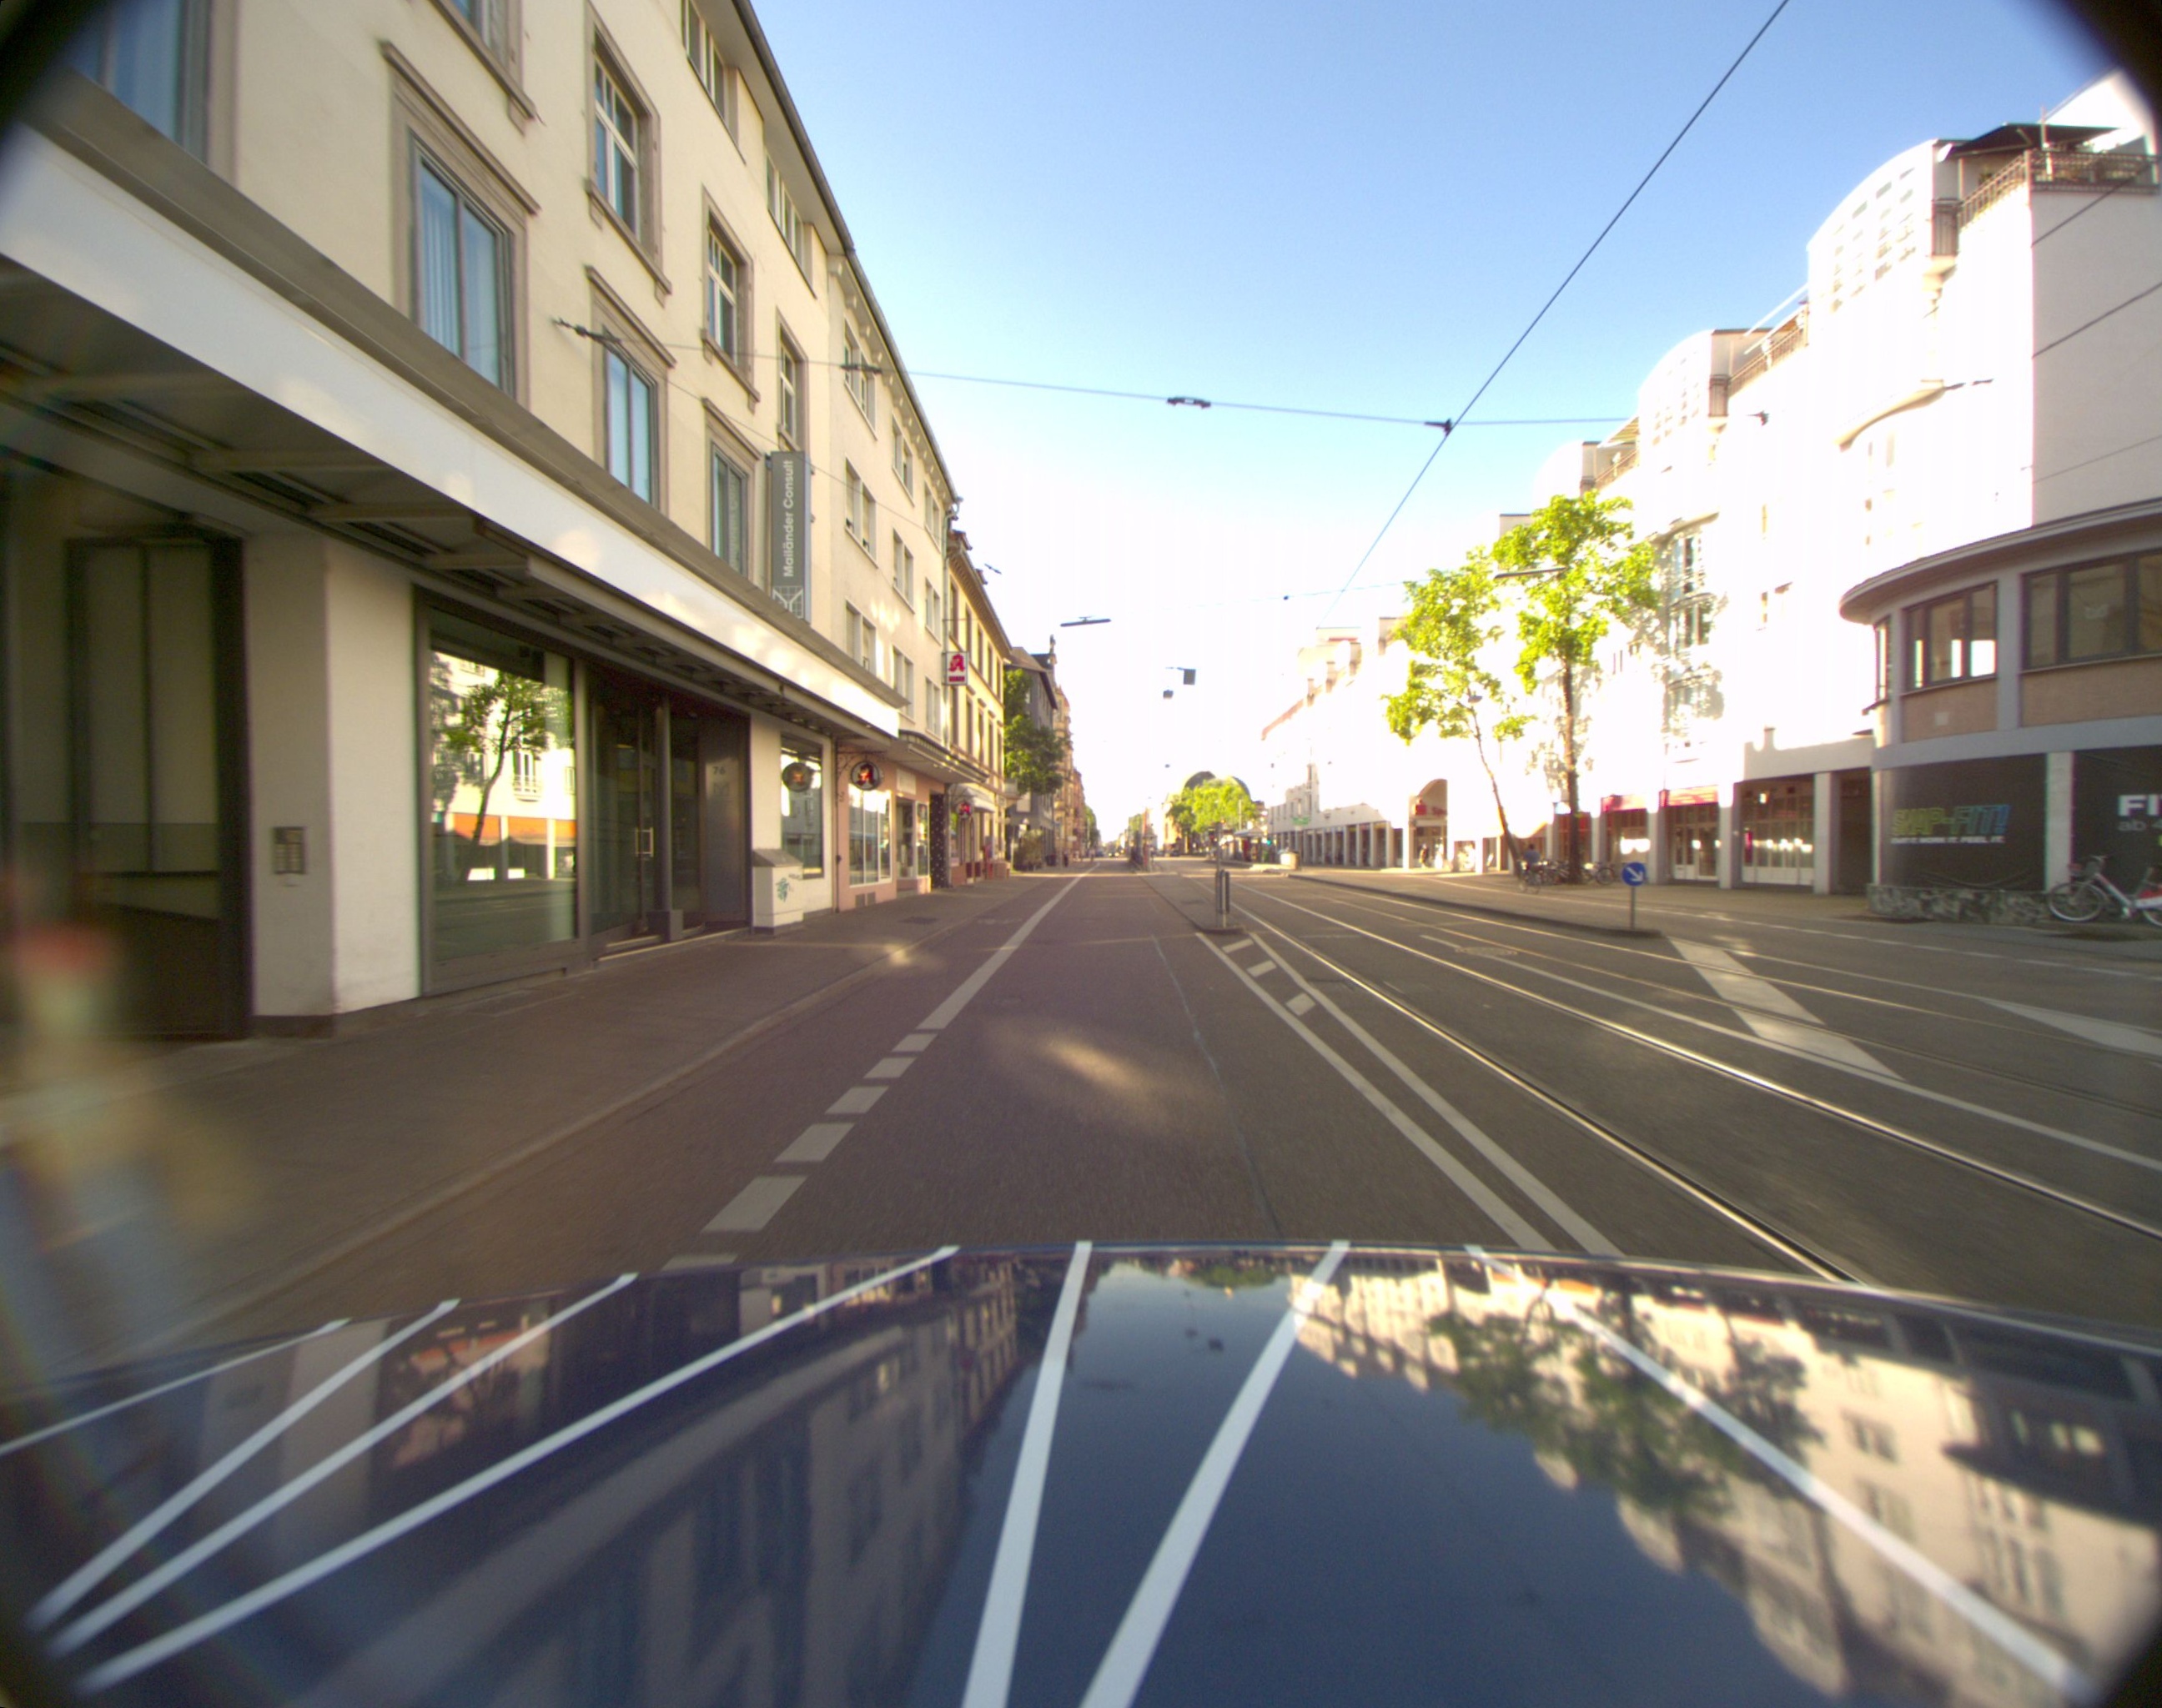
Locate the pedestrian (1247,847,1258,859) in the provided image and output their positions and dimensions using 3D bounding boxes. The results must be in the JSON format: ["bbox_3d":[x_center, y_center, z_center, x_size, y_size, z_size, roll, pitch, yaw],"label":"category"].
[{"bbox_3d":[15.128,-0.107,66.933,0.794,0.983,0.747,0,2,3],"label":"pedestrian"}]

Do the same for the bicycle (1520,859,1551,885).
[{"bbox_3d":[17.918,0.698,29.982,0.470,0.927,1.755,0,1,12],"label":"bicycle"}]

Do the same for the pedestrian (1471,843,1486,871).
[{"bbox_3d":[22.975,0.156,43.936,0.563,1.635,0.523,0,1,3],"label":"pedestrian"}]

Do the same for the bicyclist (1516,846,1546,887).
[{"bbox_3d":[15.149,0.406,25.603,0.563,1.354,0.719,0,2,3],"label":"bicyclist"}]

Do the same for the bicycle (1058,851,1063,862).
[{"bbox_3d":[-1.926,0.255,71.368,0.377,1.052,1.513,-1,1,3],"label":"bicycle"}]

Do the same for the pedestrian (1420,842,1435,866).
[{"bbox_3d":[24.160,-0.008,52.998,0.747,1.635,0.731,0,1,3],"label":"pedestrian"}]

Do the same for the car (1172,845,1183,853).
[{"bbox_3d":[20.322,-1.001,159.813,1.998,1.608,4.000,-1,0,3],"label":"car"}]

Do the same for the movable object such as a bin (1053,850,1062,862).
[{"bbox_3d":[-2.105,0.218,68.054,0.717,1.062,0.637,-1,1,2],"label":"movable object such as a bin"}]

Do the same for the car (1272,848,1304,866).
[{"bbox_3d":[19.439,0.294,71.498,1.784,1.531,4.266,2,1,0],"label":"car"}]

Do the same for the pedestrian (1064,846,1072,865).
[{"bbox_3d":[-1.165,0.108,67.512,0.695,1.680,0.688,-1,1,2],"label":"pedestrian"}]

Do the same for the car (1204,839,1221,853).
[{"bbox_3d":[20.011,-1.136,115.533,1.884,2.002,4.000,-2,0,1],"label":"car"}]

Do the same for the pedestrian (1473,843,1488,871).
[{"bbox_3d":[23.088,0.168,43.918,0.563,1.635,0.523,0,1,3],"label":"pedestrian"}]

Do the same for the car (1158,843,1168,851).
[{"bbox_3d":[20.099,-1.734,186.683,1.999,1.893,3.999,0,1,0],"label":"car"}]

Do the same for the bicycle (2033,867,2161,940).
[{"bbox_3d":[16.065,0.747,11.619,0.525,1.030,1.878,0,1,-5],"label":"bicycle"}]

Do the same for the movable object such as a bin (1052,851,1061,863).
[{"bbox_3d":[-2.161,0.254,67.199,0.717,1.062,0.637,-1,1,1],"label":"movable object such as a bin"}]

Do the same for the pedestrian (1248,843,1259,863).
[{"bbox_3d":[14.288,-0.128,62.909,0.794,1.635,0.747,0,2,3],"label":"pedestrian"}]

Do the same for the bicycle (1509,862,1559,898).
[{"bbox_3d":[15.305,0.847,25.720,0.564,1.117,2.004,1,1,3],"label":"bicycle"}]

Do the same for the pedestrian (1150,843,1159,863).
[{"bbox_3d":[6.013,-0.065,62.255,0.716,1.635,0.400,0,2,5],"label":"pedestrian"}]

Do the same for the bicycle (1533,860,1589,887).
[{"bbox_3d":[19.260,0.768,30.516,1.876,1.071,0.465,0,1,10],"label":"bicycle"}]

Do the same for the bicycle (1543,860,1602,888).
[{"bbox_3d":[19.080,0.767,29.504,1.876,1.071,0.465,0,1,10],"label":"bicycle"}]

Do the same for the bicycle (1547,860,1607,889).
[{"bbox_3d":[18.929,0.773,29.015,1.876,1.071,0.465,0,1,10],"label":"bicycle"}]

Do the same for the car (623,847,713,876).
[{"bbox_3d":[-25.212,0.402,46.581,1.642,1.663,4.643,0,1,28],"label":"car"}]
